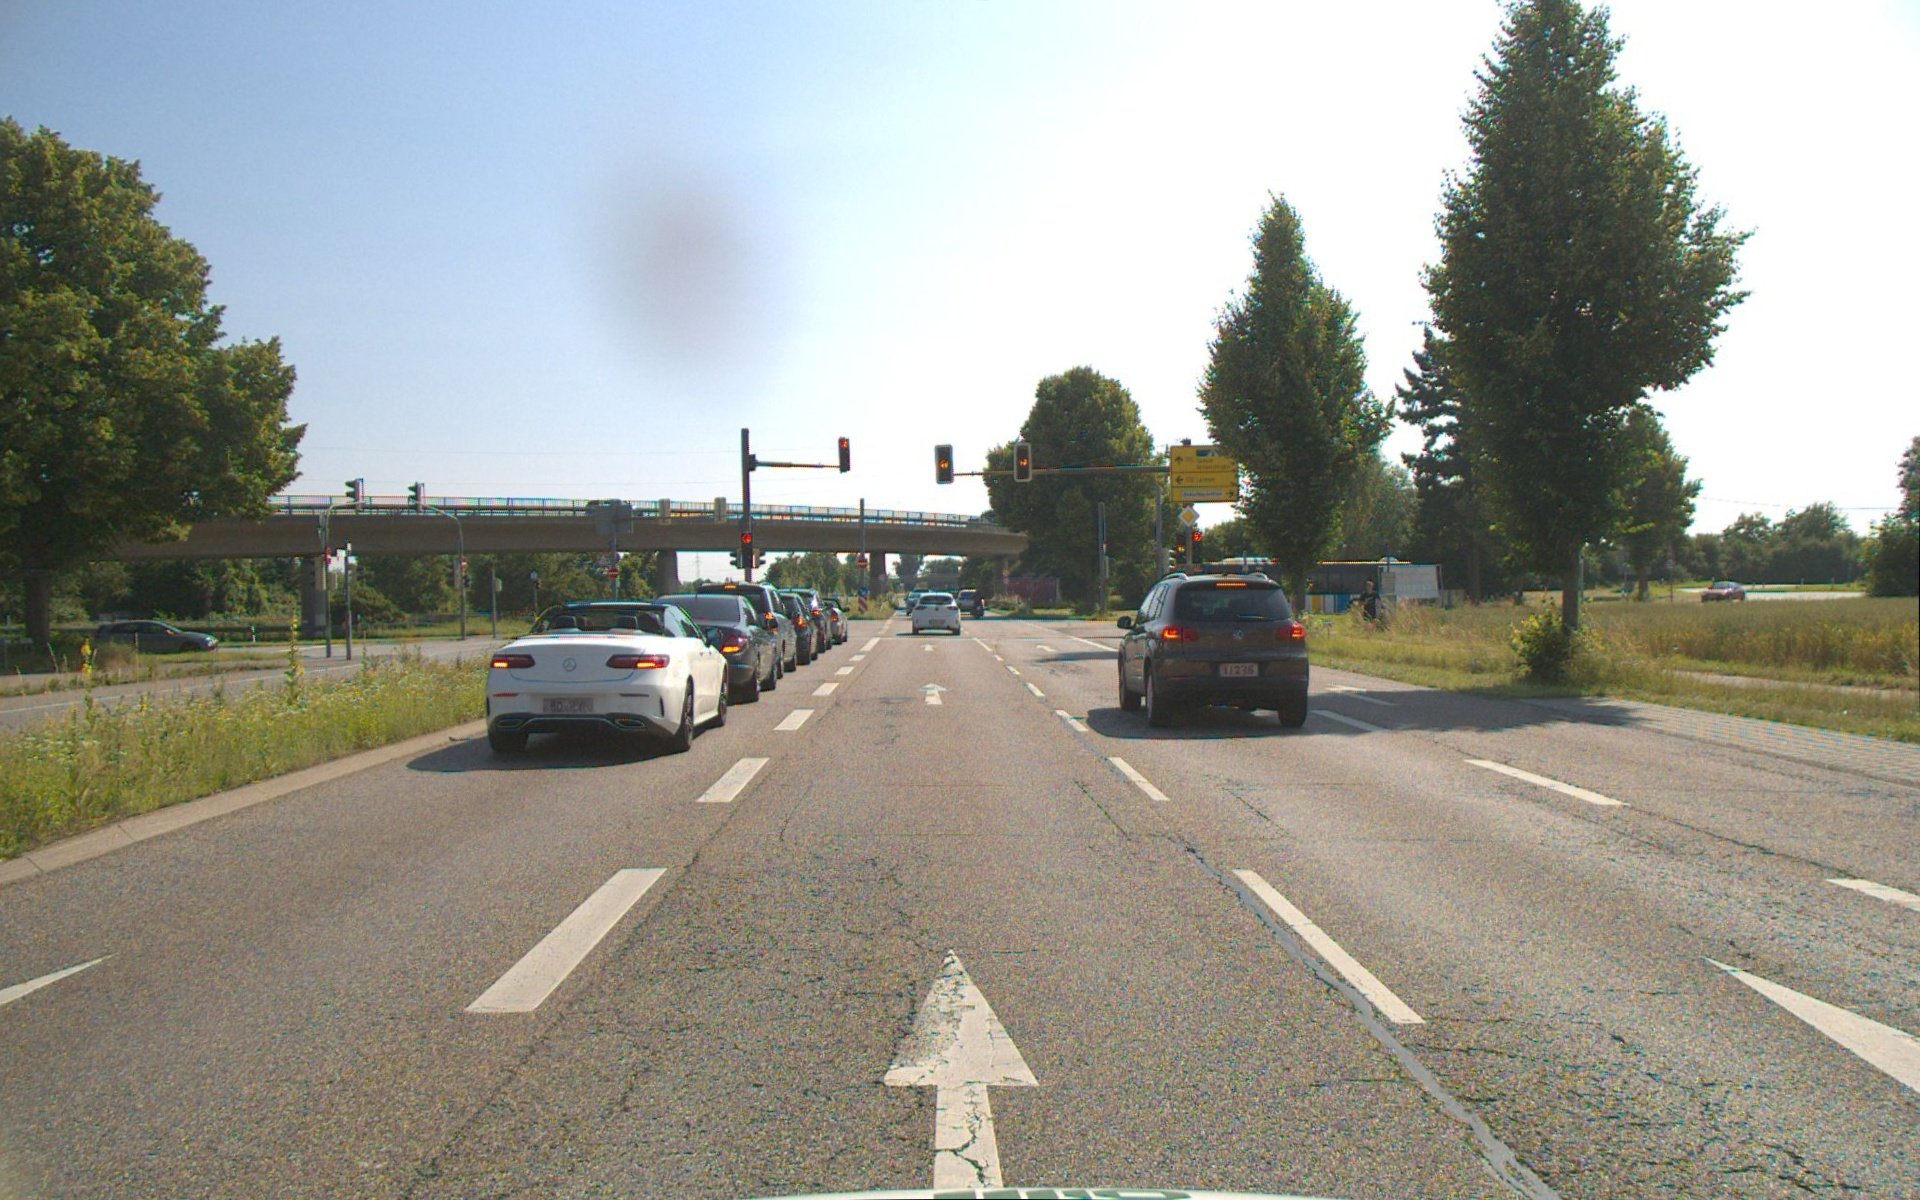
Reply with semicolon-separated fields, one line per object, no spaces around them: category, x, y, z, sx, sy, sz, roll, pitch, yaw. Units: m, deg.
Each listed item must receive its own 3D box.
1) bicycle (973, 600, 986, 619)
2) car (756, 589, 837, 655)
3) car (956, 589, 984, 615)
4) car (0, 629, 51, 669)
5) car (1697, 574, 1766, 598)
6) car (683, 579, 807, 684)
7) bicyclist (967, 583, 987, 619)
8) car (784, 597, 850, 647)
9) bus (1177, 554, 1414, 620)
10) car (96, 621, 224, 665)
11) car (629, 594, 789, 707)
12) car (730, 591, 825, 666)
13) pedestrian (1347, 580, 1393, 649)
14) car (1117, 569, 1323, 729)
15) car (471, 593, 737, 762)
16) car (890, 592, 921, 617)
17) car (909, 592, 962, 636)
bicycle;1.049;0.510;89.732;0.588;1.000;2.360;-1;0;-1
car;-4.088;0.523;41.924;1.693;1.574;4.097;-1;0;-1
car;0.650;0.147;110.537;1.835;1.668;4.000;1;0;0
car;-34.271;1.768;57.880;4.296;1.303;1.634;-2;0;-31
car;47.679;-0.863;102.200;3.933;1.422;1.669;-2;0;-23
car;-3.785;0.508;29.717;1.706;1.701;4.356;-1;0;-1
bicyclist;0.923;0.055;90.100;0.986;1.919;1.327;-1;0;0
car;-4.168;0.616;48.589;1.640;1.358;4.097;-1;0;-1
bus;17.065;-0.679;84.028;11.747;2.927;2.929;-2;0;-17
car;-29.379;1.569;60.857;4.055;1.449;1.859;-2;0;-22
car;-3.477;0.641;23.568;1.680;1.435;4.354;1;0;-1
car;-3.857;0.568;35.441;1.632;1.500;4.097;-1;0;-1
pedestrian;11.365;0.388;45.835;0.883;1.871;1.194;-1;0;-4
car;2.967;0.521;19.688;1.720;1.684;4.145;1;0;-1
car;-3.384;0.663;16.588;1.767;1.450;4.640;0;0;-2
car;-3.503;0.270;106.870;1.835;1.518;4.000;-1;0;0
car;-0.848;0.459;58.587;1.813;1.486;4.000;0;0;0
